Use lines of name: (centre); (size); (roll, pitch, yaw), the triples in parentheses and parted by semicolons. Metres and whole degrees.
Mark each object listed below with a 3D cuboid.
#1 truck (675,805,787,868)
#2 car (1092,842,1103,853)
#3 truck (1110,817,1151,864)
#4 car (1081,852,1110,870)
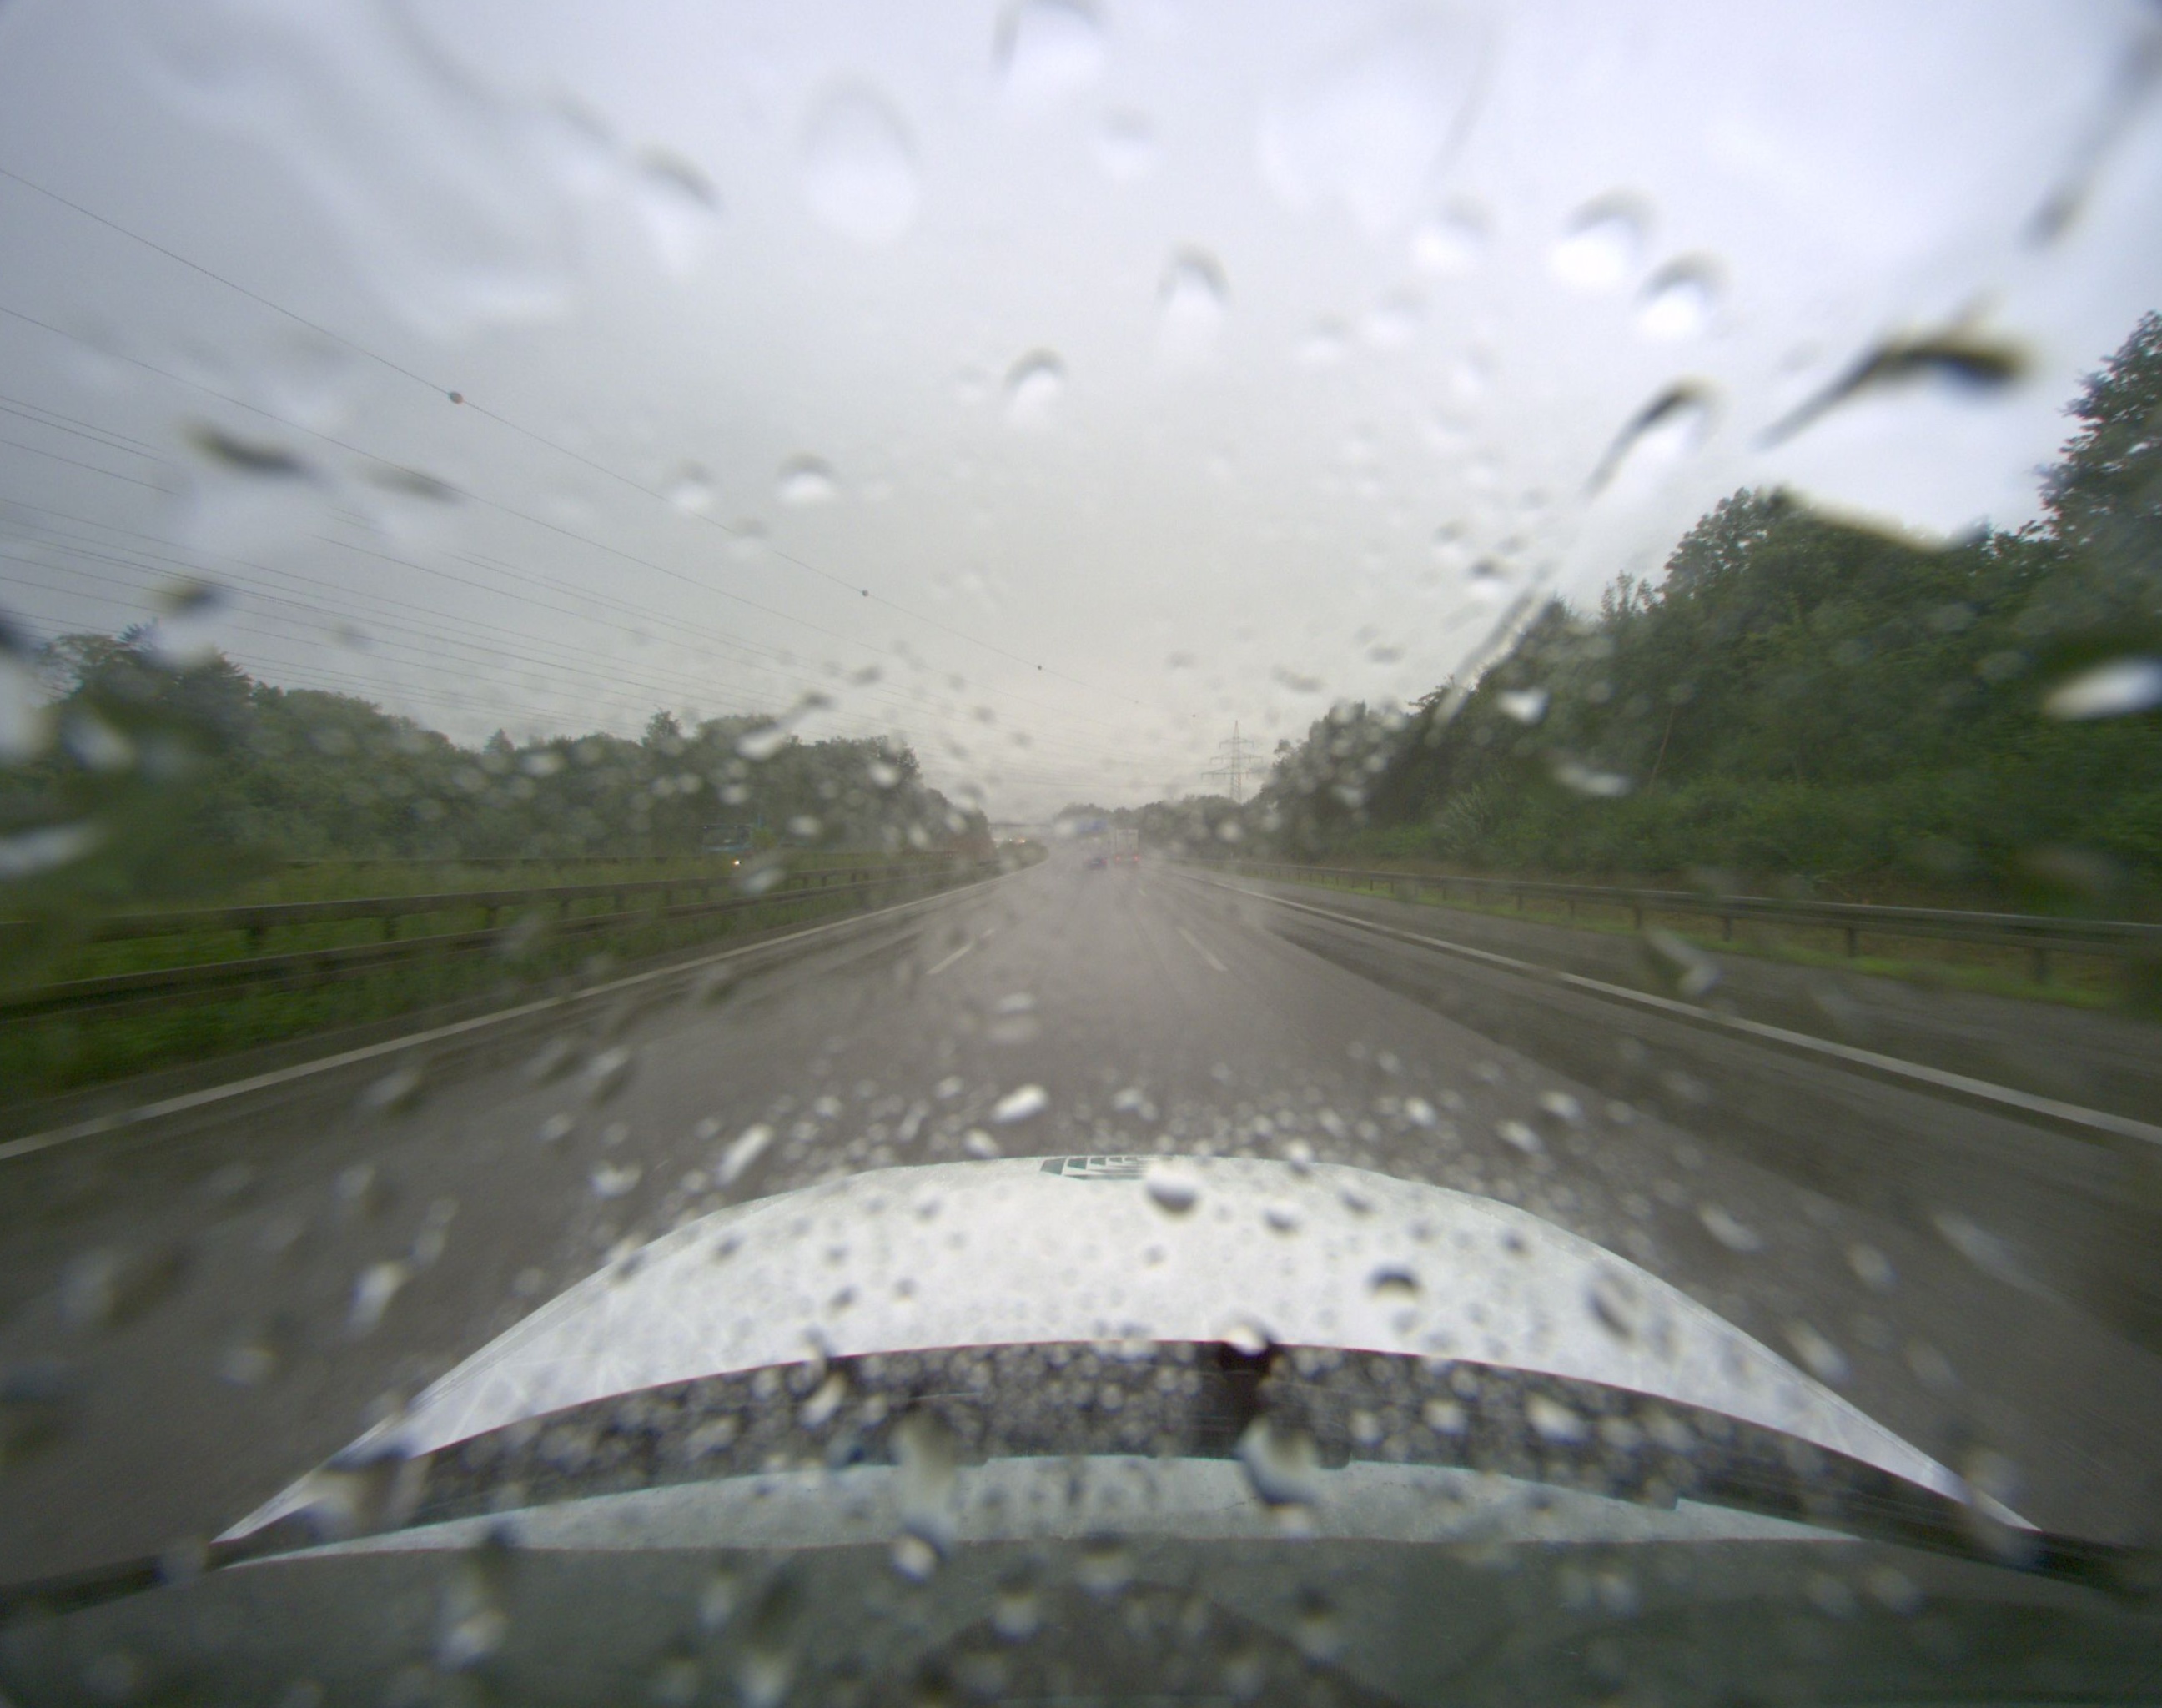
truck: (-20.260, -0.953, 47.736); (3.058, 3.276, 7.393); (3, 0, 1)
car: (3.582, -1.494, 179.141); (2.384, 2.272, 5.004); (1, 1, 1)
truck: (5.767, -1.481, 95.833); (4.238, 4.972, 17.356); (-1, 0, 3)
car: (1.075, 0.484, 58.989); (1.740, 1.212, 4.005); (2, 0, 5)
